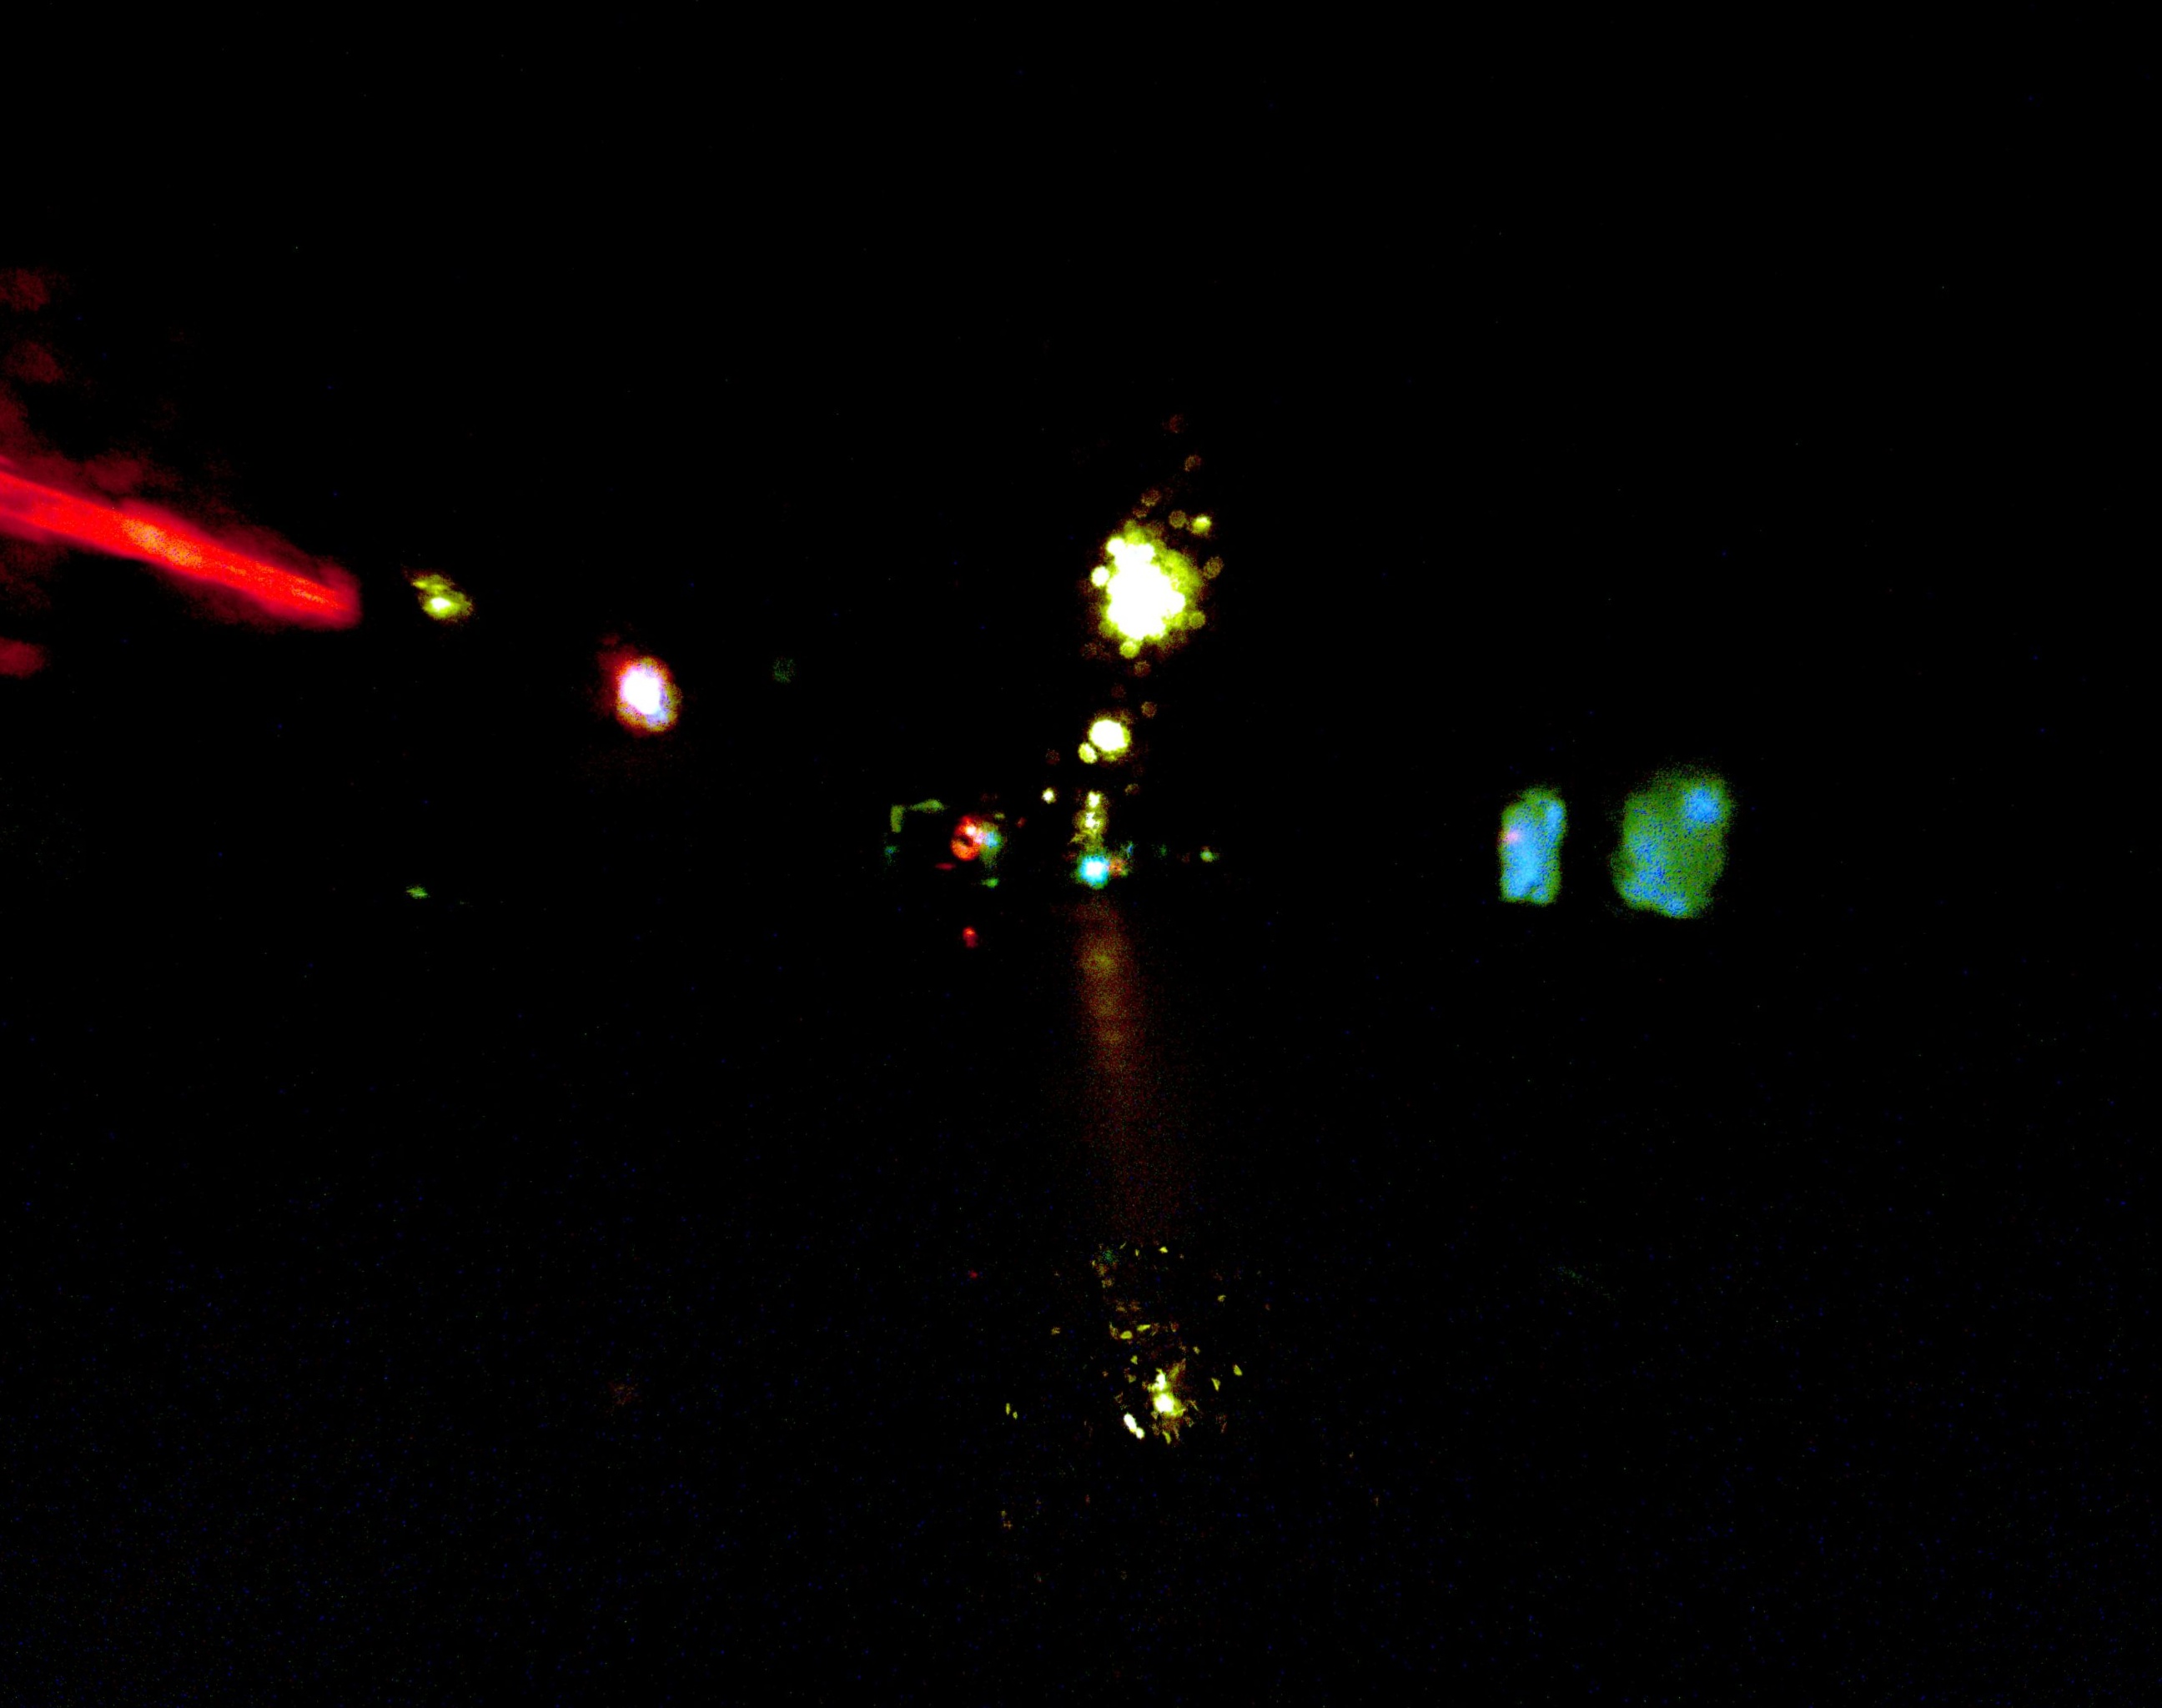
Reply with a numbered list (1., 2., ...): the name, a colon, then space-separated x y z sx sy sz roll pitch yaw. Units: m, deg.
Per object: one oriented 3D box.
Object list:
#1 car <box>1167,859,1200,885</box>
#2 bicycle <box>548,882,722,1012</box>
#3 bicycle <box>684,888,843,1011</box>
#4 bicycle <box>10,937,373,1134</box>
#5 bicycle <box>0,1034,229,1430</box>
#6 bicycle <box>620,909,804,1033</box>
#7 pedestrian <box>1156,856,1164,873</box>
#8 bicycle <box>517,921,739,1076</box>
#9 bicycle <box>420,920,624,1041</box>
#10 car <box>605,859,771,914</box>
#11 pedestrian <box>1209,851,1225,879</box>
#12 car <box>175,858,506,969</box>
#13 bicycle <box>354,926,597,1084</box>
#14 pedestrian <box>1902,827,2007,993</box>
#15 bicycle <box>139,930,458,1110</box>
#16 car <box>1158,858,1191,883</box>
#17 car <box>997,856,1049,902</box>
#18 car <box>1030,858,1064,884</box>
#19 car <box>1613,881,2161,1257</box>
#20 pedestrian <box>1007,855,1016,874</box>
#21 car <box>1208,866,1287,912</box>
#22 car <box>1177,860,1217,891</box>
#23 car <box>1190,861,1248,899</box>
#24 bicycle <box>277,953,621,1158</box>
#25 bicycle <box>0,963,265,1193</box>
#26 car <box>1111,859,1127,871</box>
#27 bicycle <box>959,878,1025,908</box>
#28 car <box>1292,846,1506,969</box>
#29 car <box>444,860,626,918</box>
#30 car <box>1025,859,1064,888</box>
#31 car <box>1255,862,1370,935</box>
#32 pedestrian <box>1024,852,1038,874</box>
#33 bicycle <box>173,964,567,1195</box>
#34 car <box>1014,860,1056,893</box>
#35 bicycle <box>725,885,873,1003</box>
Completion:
1. car: 5.861 1.032 43.578 1.696 1.470 3.385 0 -1 5
2. bicycle: -4.726 0.979 8.089 1.532 1.195 0.366 6 1 -1
3. bicycle: -3.560 1.065 8.560 1.532 1.195 0.366 6 1 -1
4. bicycle: -5.139 1.046 4.436 1.533 0.947 0.366 6 1 -4
5. bicycle: -3.687 1.129 2.487 1.531 0.947 0.366 6 1 8
6. bicycle: -3.590 1.132 7.430 1.532 1.018 0.366 6 1 -1
7. pedestrian: 9.332 1.256 90.026 0.776 2.002 0.587 -2 1 1
8. bicycle: -3.635 1.141 6.124 1.532 1.018 0.366 6 1 4
9. bicycle: -4.833 1.083 6.588 1.532 0.829 0.325 6 1 4
10. car: -11.830 0.950 23.045 3.996 1.476 1.895 -1 0 2
11. pedestrian: 8.816 0.719 49.239 0.912 1.777 0.629 -2 1 1
12. car: -13.121 1.008 13.665 4.155 1.760 1.843 -1 0 2
13. bicycle: -4.512 1.106 5.685 1.532 0.947 0.366 6 1 4
14. pedestrian: 9.738 0.611 8.485 0.595 1.777 0.460 2 -1 4
15. bicycle: -4.971 1.052 4.871 1.533 0.947 0.366 6 1 -3
16. car: 5.829 1.043 47.609 1.697 1.470 3.964 0 -1 2
17. car: -2.281 0.964 30.706 1.676 1.712 3.857 1 0 1
18. car: -2.099 1.026 47.896 1.846 1.498 4.162 1 0 1
19. car: 5.294 0.949 4.620 1.573 1.451 3.720 0 0 1
20. pedestrian: -7.028 1.029 76.831 0.776 1.890 0.777 -2 1 1
21. car: 5.507 1.116 25.683 1.731 1.384 4.555 0 0 1
22. car: 5.664 1.020 37.397 1.531 1.445 3.384 0 0 1
23. car: 5.677 1.028 31.753 1.731 1.445 4.273 0 0 1
24. bicycle: -3.537 1.128 4.311 1.533 0.947 0.366 6 1 -3
25. bicycle: -5.111 1.091 3.801 1.533 0.947 0.366 6 1 -3
26. car: 4.752 1.402 95.434 1.877 1.386 4.075 0 -1 4
27. bicycle: -2.994 1.293 25.550 2.267 0.889 0.620 1 0 30
28. car: 5.373 0.803 13.663 1.907 1.818 4.829 0 0 1
29. car: -16.378 1.025 22.949 3.996 1.499 2.000 -2 1 2
30. car: -1.971 1.050 42.184 1.846 1.498 4.162 1 0 1
31. car: 5.478 0.998 18.464 1.731 1.565 3.720 0 0 1
32. pedestrian: -4.052 0.727 61.479 1.007 1.698 0.614 1 0 1
33. bicycle: -3.549 1.124 3.851 1.533 0.947 0.366 6 1 -3
34. car: -2.168 1.046 36.827 1.689 1.498 4.162 1 0 1
35. bicycle: -3.330 1.053 9.009 1.532 1.195 0.366 6 1 3
